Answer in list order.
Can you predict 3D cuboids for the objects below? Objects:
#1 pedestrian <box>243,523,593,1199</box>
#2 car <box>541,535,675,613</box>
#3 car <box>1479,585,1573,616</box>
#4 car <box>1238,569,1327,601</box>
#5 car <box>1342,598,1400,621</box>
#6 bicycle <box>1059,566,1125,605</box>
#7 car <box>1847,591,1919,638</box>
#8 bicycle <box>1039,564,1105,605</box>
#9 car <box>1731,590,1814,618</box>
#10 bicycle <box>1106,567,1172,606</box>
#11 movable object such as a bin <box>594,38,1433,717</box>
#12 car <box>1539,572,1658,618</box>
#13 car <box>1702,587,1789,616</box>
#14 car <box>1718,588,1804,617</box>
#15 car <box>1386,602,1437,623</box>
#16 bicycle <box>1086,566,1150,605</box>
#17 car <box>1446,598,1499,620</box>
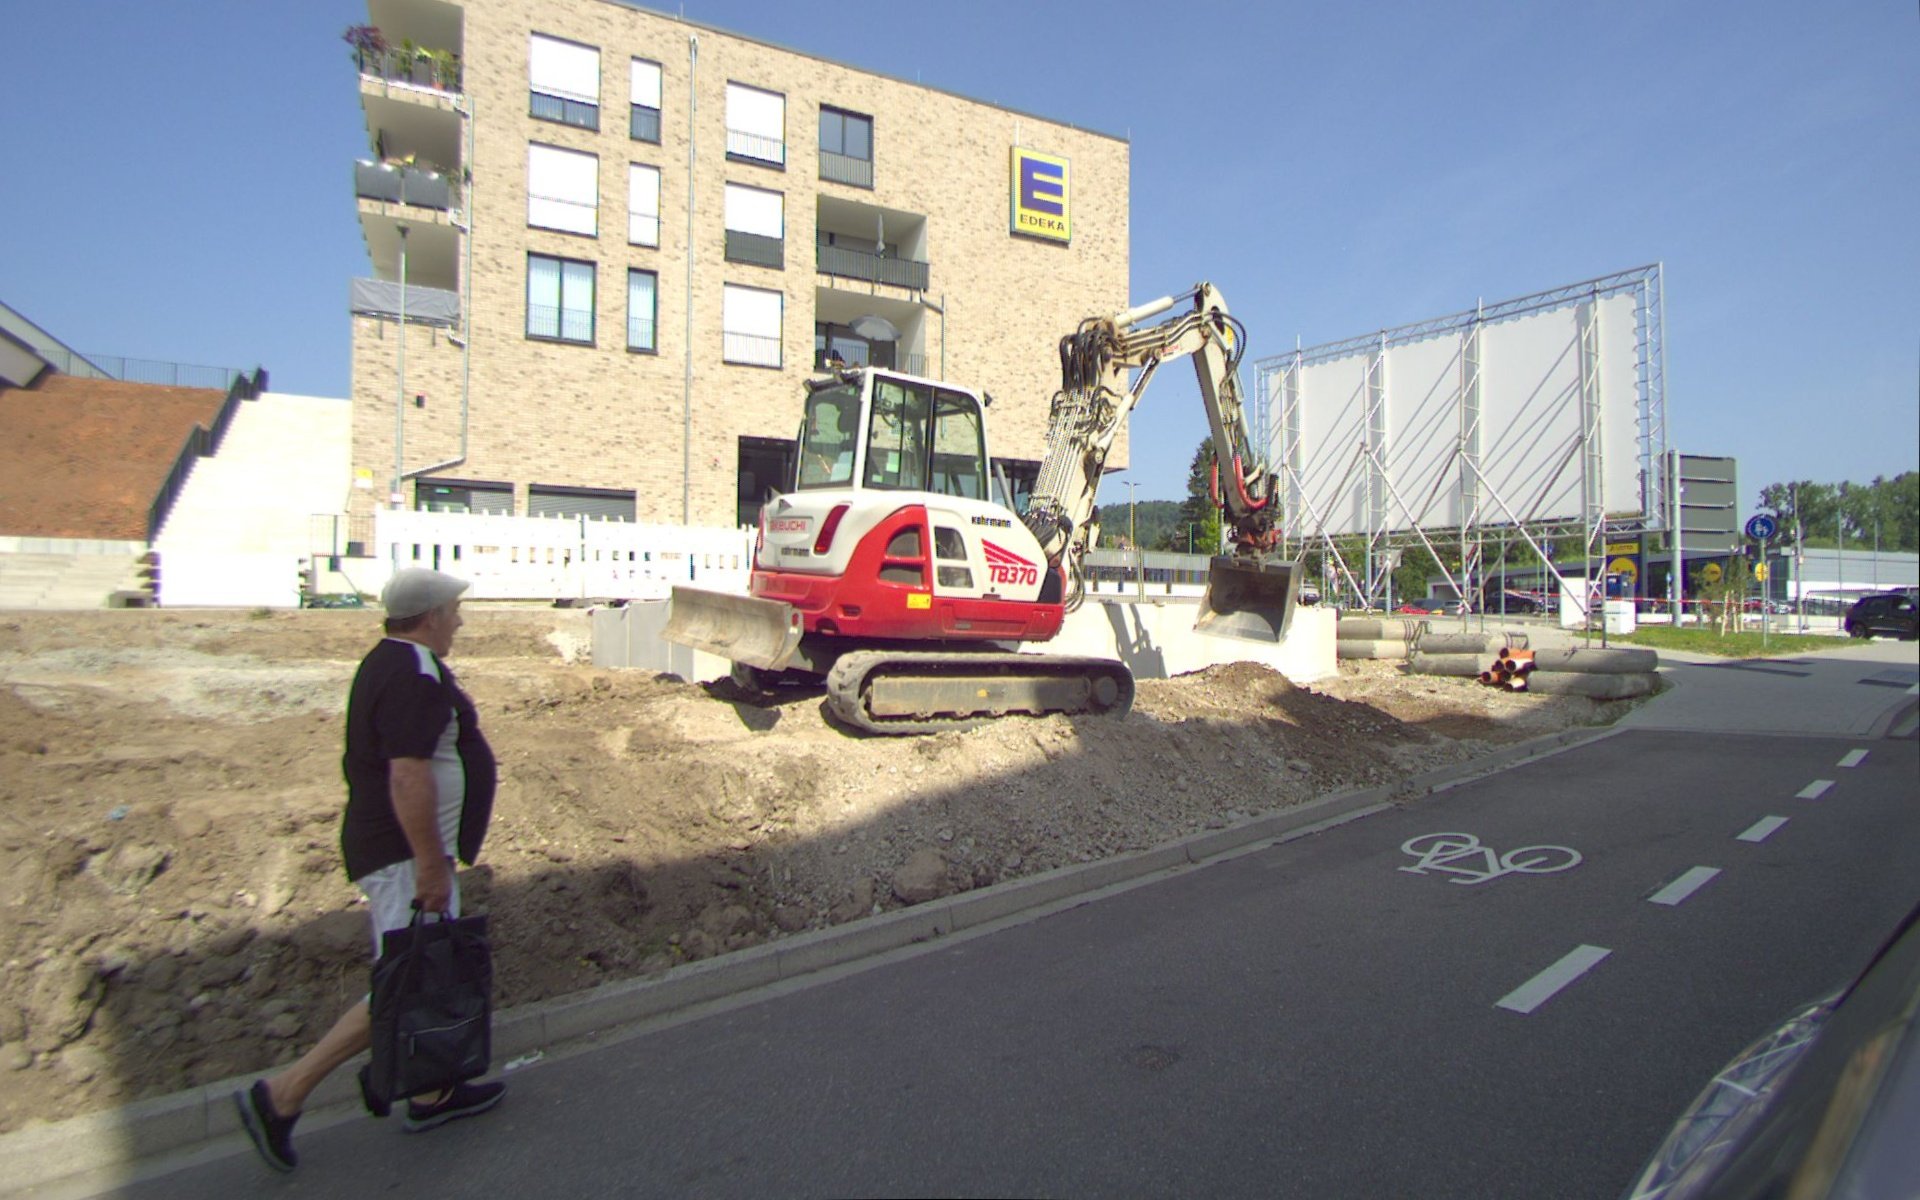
[{"bbox_3d":[-1.574,0.692,2.895,0.706,1.705,0.890,0,-3,-40],"label":"pedestrian"},{"bbox_3d":[-7.555,-0.519,21.576,1.567,1.514,3.410,-1,1,-41],"label":"car"},{"bbox_3d":[33.942,0.052,60.856,1.882,1.551,4.867,1,-4,-19],"label":"car"},{"bbox_3d":[17.589,-0.803,55.446,1.819,1.575,4.830,4,-1,-25],"label":"car"},{"bbox_3d":[29.858,0.710,73.515,3.708,1.595,1.765,1,-4,-24],"label":"car"},{"bbox_3d":[4.411,-0.463,33.965,0.841,1.159,2.242,2,-5,-38],"label":"bicycle"},{"bbox_3d":[30.297,0.462,31.598,1.614,1.410,4.225,2,-1,3],"label":"car"},{"bbox_3d":[3.681,-0.483,33.471,0.841,1.159,2.242,2,-5,-38],"label":"bicycle"},{"bbox_3d":[54.027,0.271,67.356,1.674,1.595,3.991,3,-5,-41],"label":"car"},{"bbox_3d":[6.169,-0.449,34.907,0.841,1.159,2.242,2,-5,-38],"label":"bicycle"},{"bbox_3d":[1.000,-1.211,8.969,7.653,3.905,2.300,1,-4,-37],"label":"movable object such as a bin"},{"bbox_3d":[39.294,-0.240,62.508,2.017,2.415,6.100,1,-4,-21],"label":"car"},{"bbox_3d":[49.803,0.125,64.249,1.746,1.595,4.016,2,-5,-38],"label":"car"},{"bbox_3d":[51.851,0.185,65.587,1.746,1.595,4.016,2,-5,-38],"label":"car"},{"bbox_3d":[37.578,1.054,84.278,3.708,1.595,1.765,1,-4,-24],"label":"car"},{"bbox_3d":[5.365,-0.477,34.438,0.752,1.159,2.242,2,-5,-38],"label":"bicycle"},{"bbox_3d":[40.153,0.684,79.323,3.708,1.595,1.668,1,-4,-24],"label":"car"}]
